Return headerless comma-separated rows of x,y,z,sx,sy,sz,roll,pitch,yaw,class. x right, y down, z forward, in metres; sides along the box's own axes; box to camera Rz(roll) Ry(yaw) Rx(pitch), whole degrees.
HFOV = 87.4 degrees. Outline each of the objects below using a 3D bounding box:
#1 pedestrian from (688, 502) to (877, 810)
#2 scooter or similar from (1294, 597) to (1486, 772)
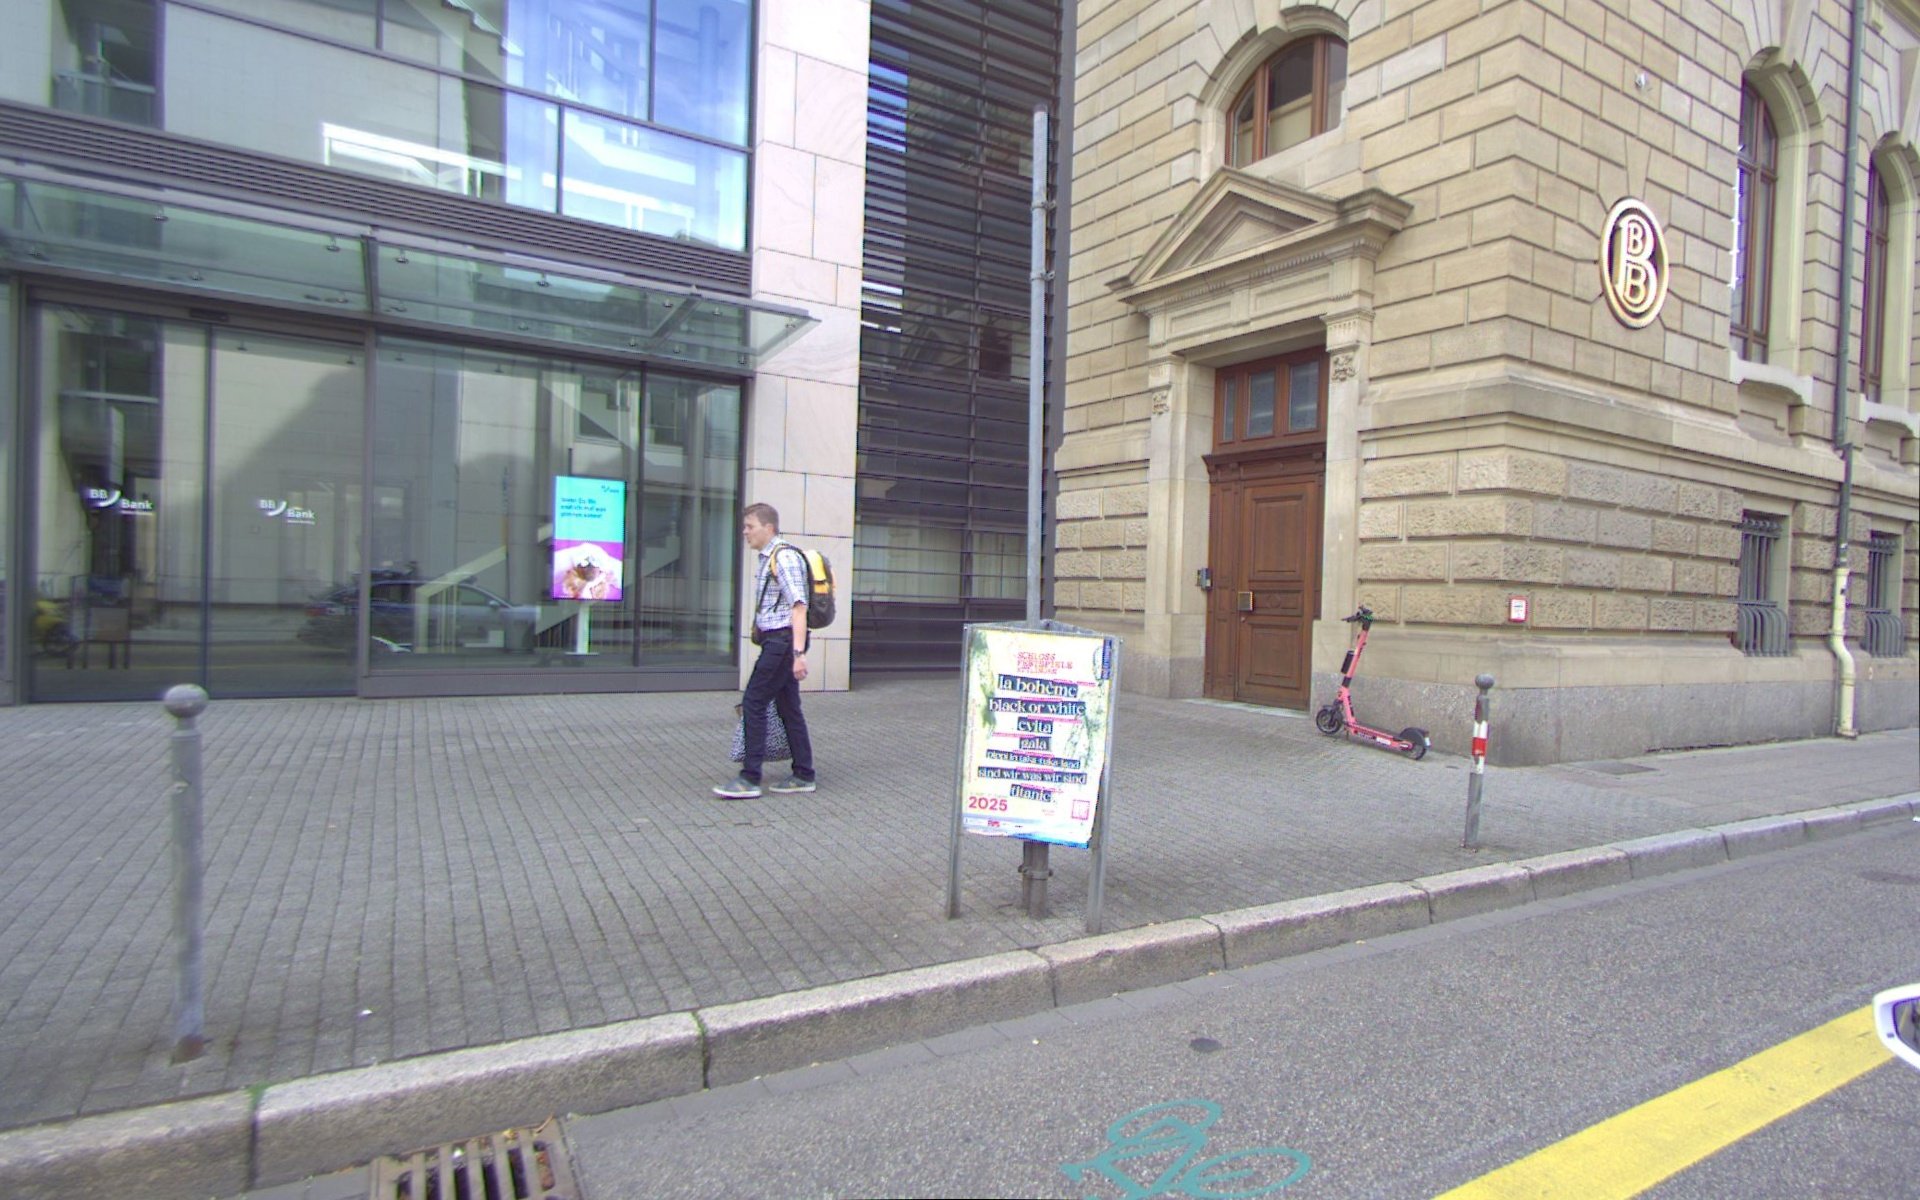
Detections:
-1.139,0.307,6.302,0.809,1.743,1.021,2,2,-30,pedestrian
3.761,0.691,8.900,0.580,1.328,1.439,0,4,-30,scooter or similar
